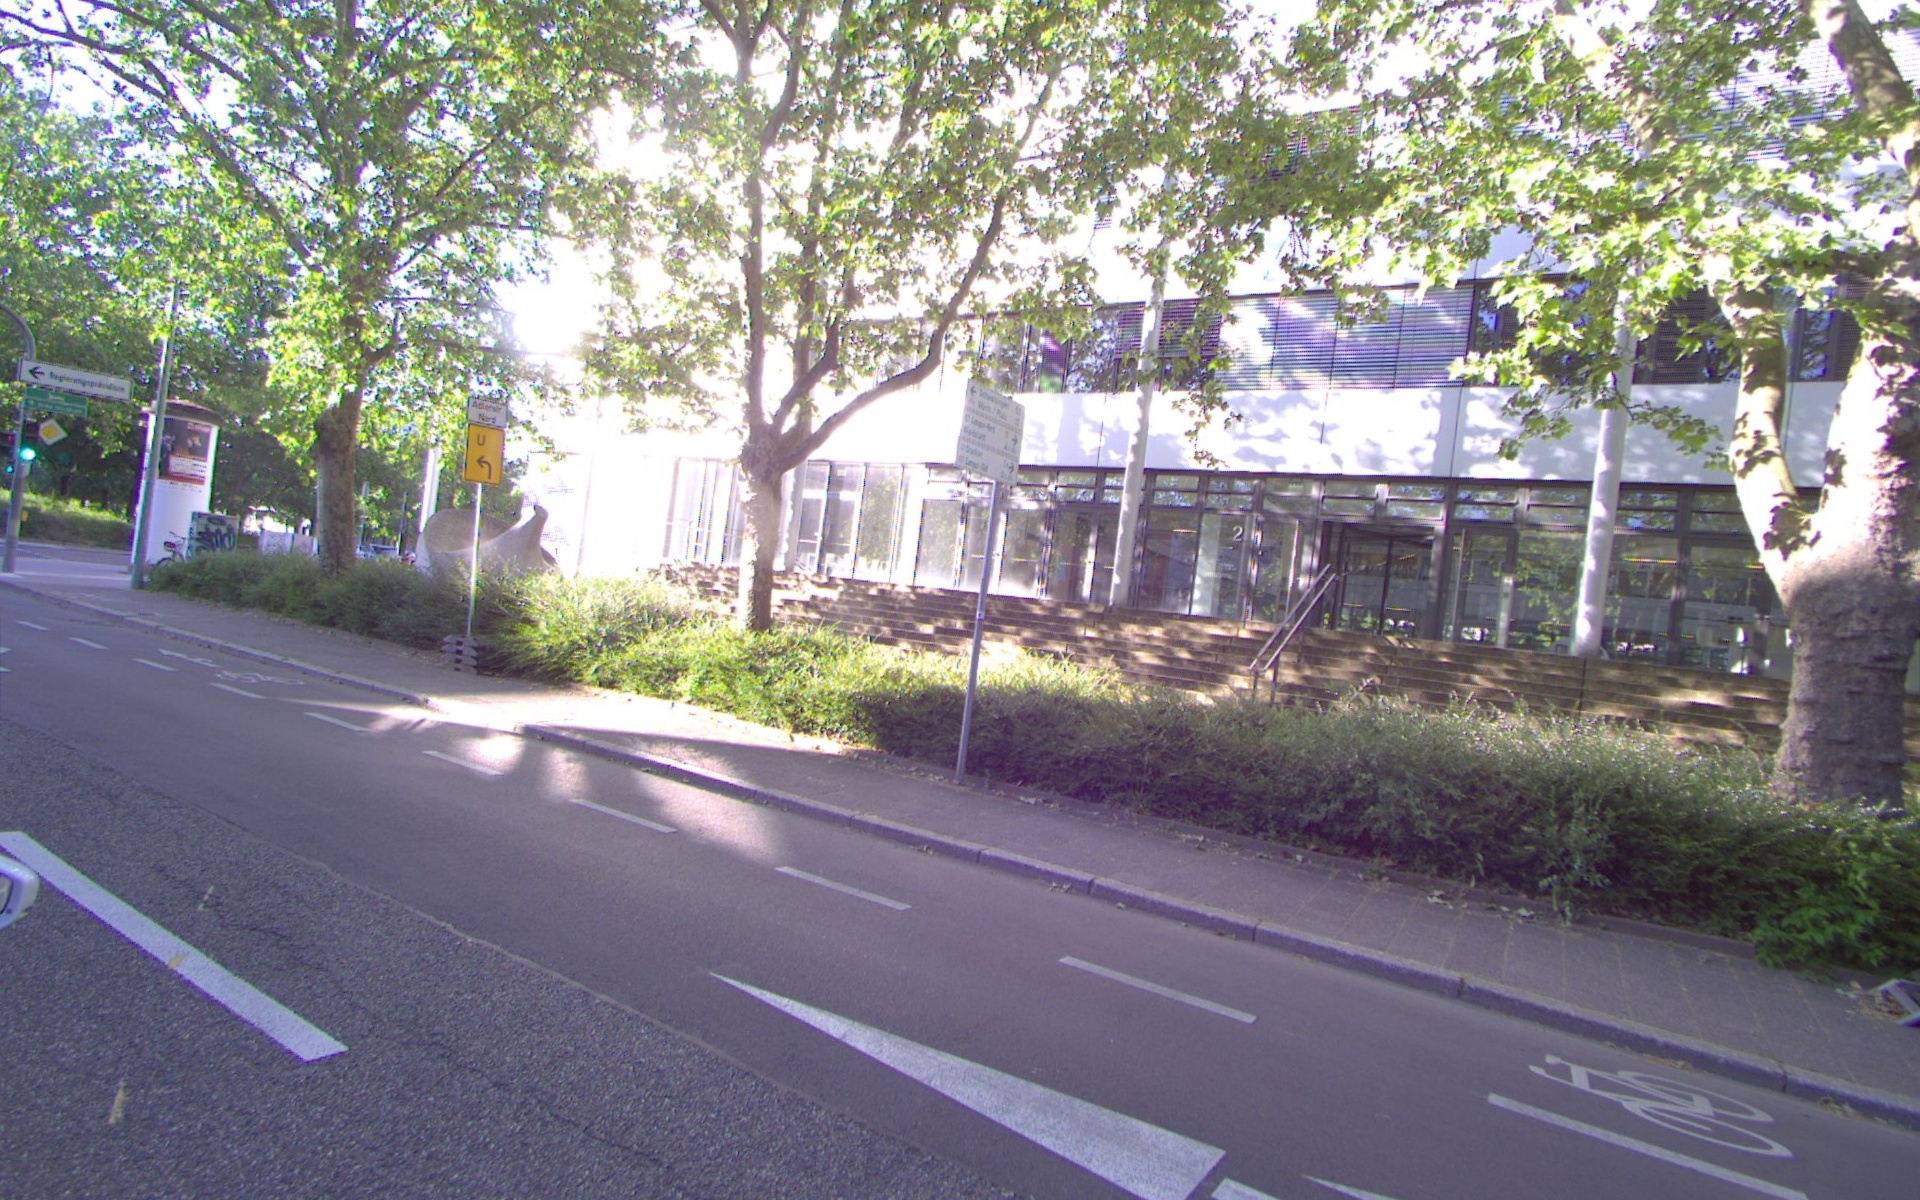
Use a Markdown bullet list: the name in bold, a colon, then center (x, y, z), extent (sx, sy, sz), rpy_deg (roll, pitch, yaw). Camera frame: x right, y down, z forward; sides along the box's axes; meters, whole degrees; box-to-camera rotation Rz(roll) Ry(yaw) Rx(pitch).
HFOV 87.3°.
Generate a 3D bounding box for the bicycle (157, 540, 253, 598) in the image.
- **bicycle**: center (-15.911, -0.631, 21.255), extent (0.631, 1.040, 1.887), rpy_deg (7, -2, -5)
